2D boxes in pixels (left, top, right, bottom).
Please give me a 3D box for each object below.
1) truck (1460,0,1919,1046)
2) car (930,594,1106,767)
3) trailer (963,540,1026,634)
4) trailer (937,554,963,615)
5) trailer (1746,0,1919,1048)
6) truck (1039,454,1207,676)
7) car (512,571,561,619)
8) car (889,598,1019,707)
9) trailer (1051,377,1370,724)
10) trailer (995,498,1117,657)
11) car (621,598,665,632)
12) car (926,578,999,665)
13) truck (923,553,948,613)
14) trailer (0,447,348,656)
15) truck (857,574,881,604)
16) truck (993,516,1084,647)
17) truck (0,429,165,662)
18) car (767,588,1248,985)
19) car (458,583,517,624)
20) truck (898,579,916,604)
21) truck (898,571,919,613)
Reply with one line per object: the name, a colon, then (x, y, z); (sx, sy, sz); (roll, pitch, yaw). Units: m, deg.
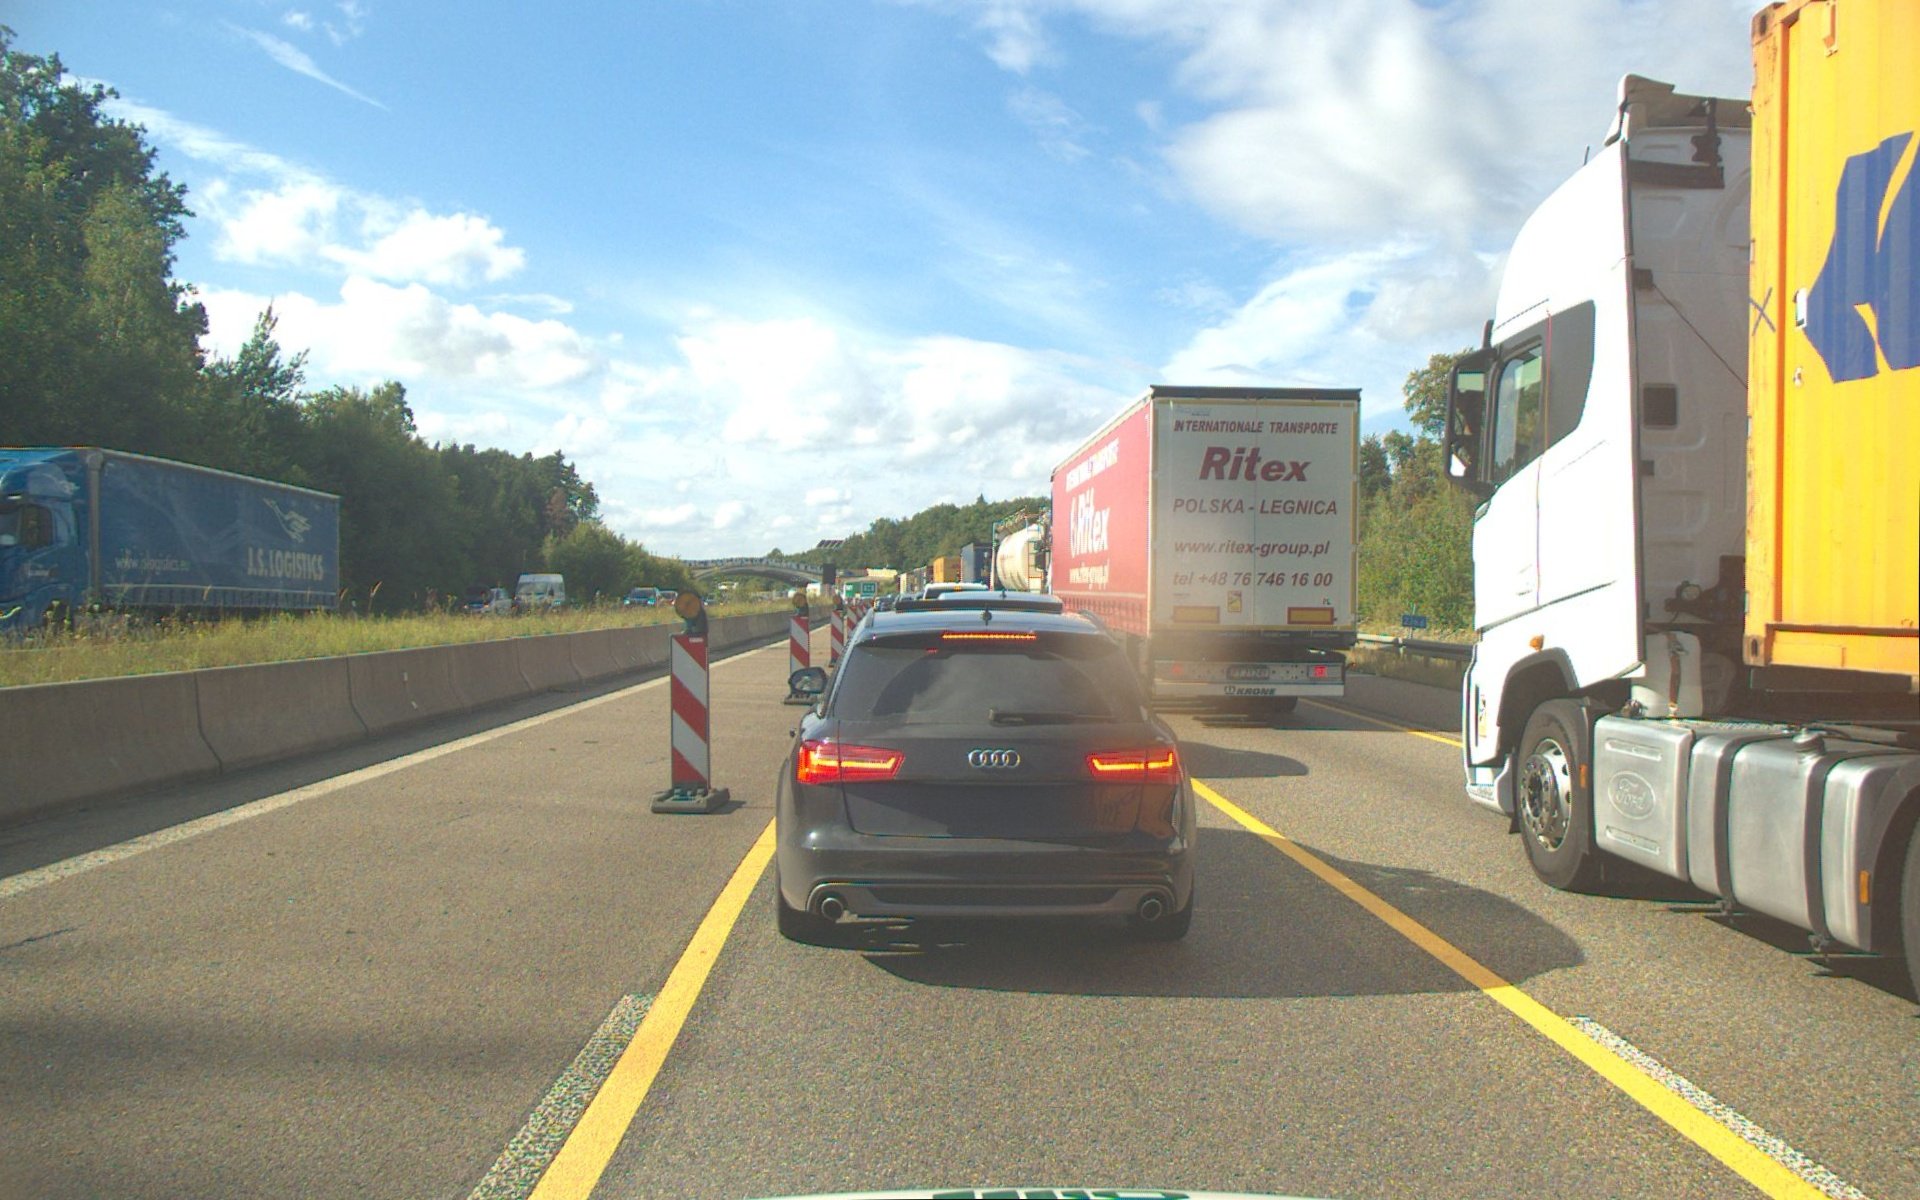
truck: (4.364, -0.435, 7.227); (2.444, 3.847, 5.788); (1, 0, -2)
car: (0.478, 0.703, 15.871); (1.493, 1.464, 3.284); (1, 0, -1)
trailer: (1.688, -0.591, 84.994); (2.748, 4.490, 10.430); (1, 0, -1)
trailer: (-0.703, -0.980, 111.941); (1.584, 3.987, 6.487); (1, 0, -2)
trailer: (4.540, -0.408, 0.653); (2.421, 3.841, 12.132); (0, 0, -1)
truck: (3.121, -0.654, 33.178); (2.614, 4.029, 5.709); (1, 0, -2)
car: (-24.835, -0.270, 97.100); (2.208, 2.689, 5.010); (1, 0, -8)
car: (-0.104, 0.712, 23.964); (1.716, 1.421, 3.607); (1, 0, -1)
trailer: (3.315, -0.594, 26.142); (2.645, 4.038, 13.413); (1, 0, -1)
trailer: (2.610, -0.582, 48.759); (2.590, 4.012, 12.595); (1, 0, -1)
car: (-16.936, 0.778, 88.472); (1.680, 1.736, 3.522); (1, 0, -1)
car: (0.026, 0.476, 37.440); (1.549, 1.869, 3.111); (1, 0, -1)
truck: (-2.191, -1.458, 145.310); (1.953, 5.000, 9.558); (1, 0, -2)
trailer: (-18.598, -1.001, 40.243); (2.566, 4.214, 13.370); (1, 0, -1)
truck: (-13.476, -1.592, 244.451); (3.240, 4.248, 9.690); (0, 0, -6)
truck: (2.521, -0.564, 54.824); (2.605, 4.041, 5.777); (1, 0, -1)
truck: (-18.484, -1.019, 33.022); (2.584, 4.262, 5.466); (1, 0, -1)
car: (0.157, 0.720, 8.262); (1.811, 1.489, 3.999); (1, 0, -1)
car: (-24.887, 0.202, 87.236); (1.953, 2.049, 3.999); (1, 0, -1)
truck: (-7.828, -1.264, 243.672); (2.515, 3.527, 7.395); (1, 0, -2)
truck: (-5.473, -0.802, 178.054); (2.094, 4.332, 7.069); (1, 0, -1)
